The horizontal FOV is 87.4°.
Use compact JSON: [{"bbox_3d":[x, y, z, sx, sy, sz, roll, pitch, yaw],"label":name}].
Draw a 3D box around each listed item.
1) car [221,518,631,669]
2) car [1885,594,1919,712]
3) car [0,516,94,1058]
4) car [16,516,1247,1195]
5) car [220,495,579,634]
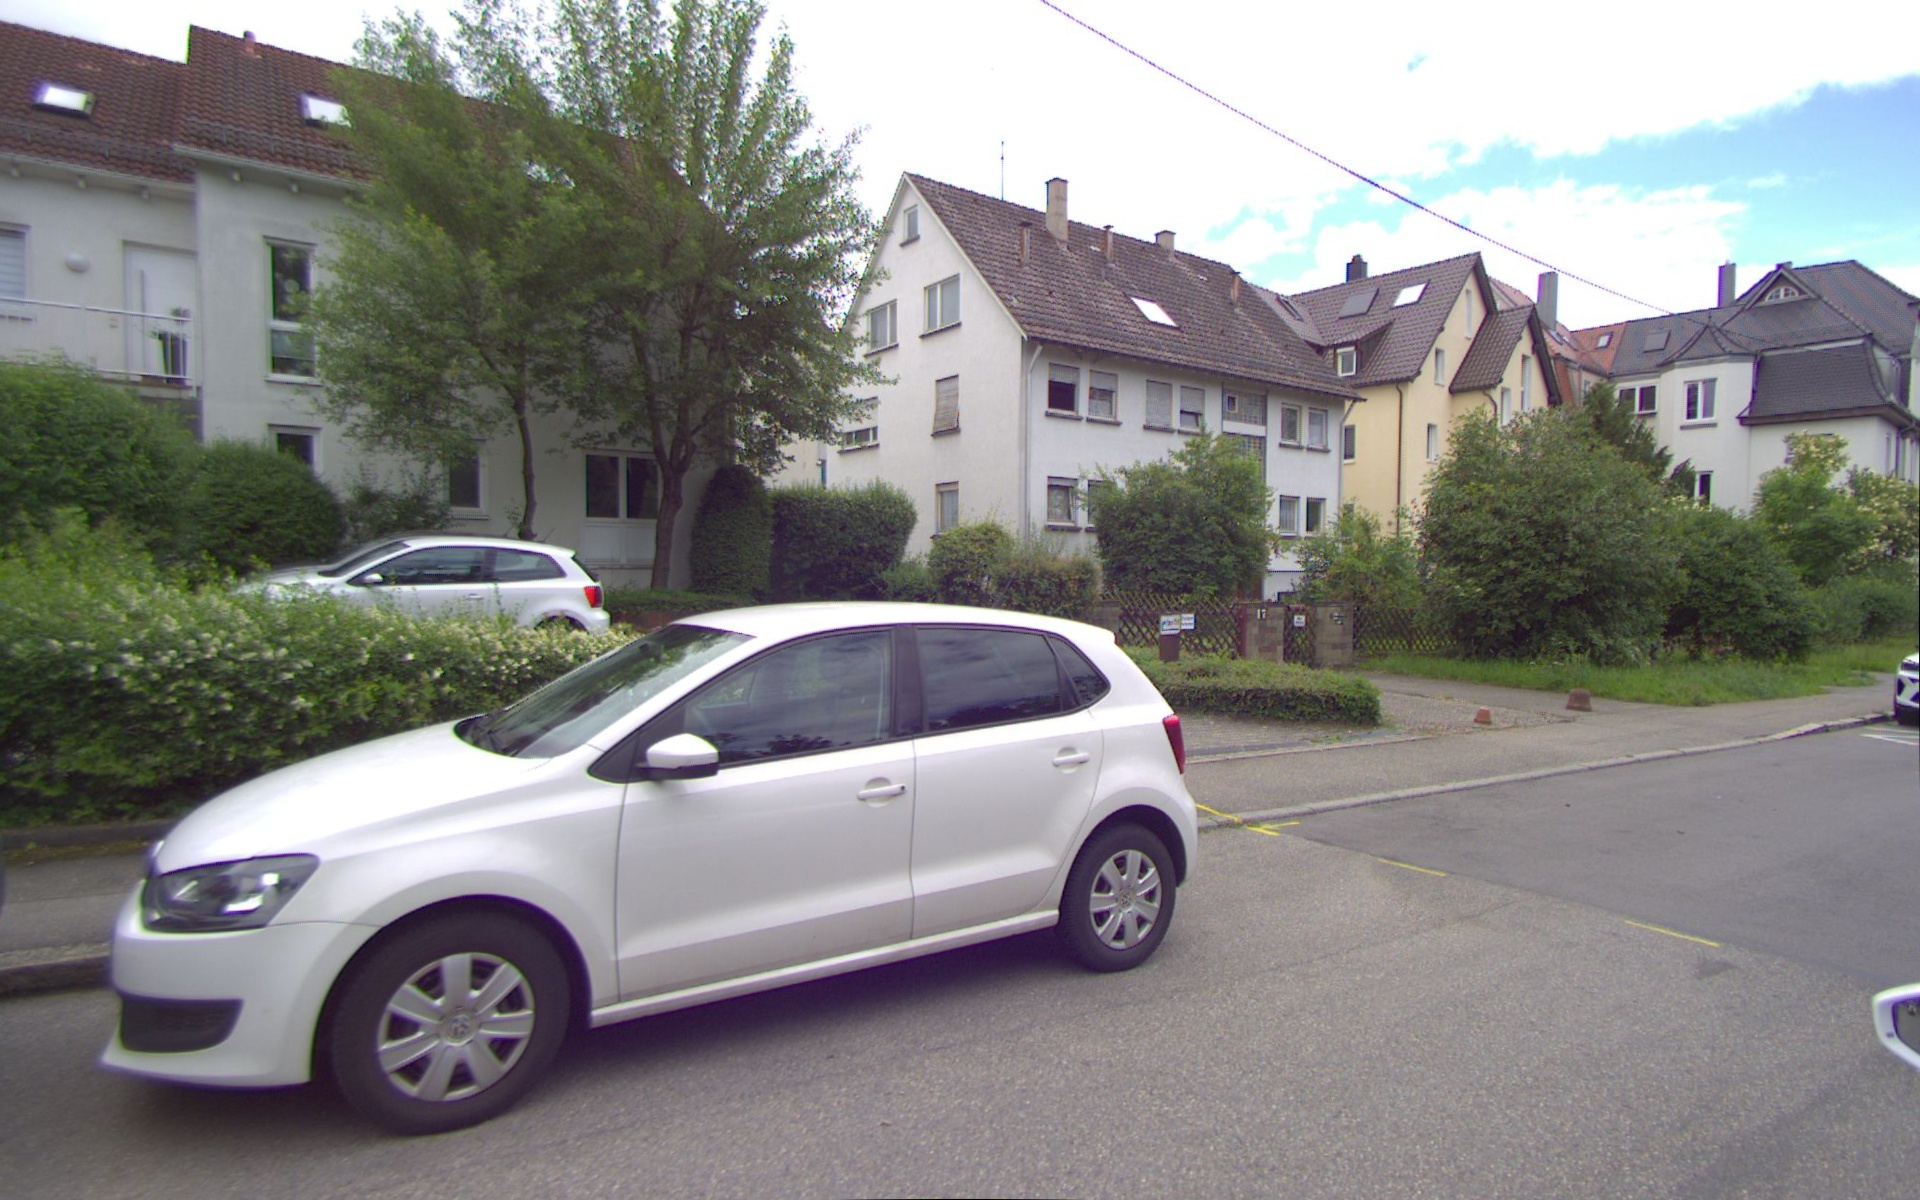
[{"bbox_3d":[-5.960,-0.061,11.543,3.887,1.477,1.694,1,1,-30],"label":"car"},{"bbox_3d":[14.427,0.768,13.720,4.369,1.512,1.713,2,1,-35],"label":"car"},{"bbox_3d":[-4.410,0.477,1.760,4.078,1.500,1.753,1,1,-30],"label":"car"},{"bbox_3d":[-0.853,0.596,3.951,3.886,1.500,1.613,2,1,-33],"label":"car"},{"bbox_3d":[-7.426,-0.456,13.561,3.956,1.595,1.811,1,5,-32],"label":"car"}]
